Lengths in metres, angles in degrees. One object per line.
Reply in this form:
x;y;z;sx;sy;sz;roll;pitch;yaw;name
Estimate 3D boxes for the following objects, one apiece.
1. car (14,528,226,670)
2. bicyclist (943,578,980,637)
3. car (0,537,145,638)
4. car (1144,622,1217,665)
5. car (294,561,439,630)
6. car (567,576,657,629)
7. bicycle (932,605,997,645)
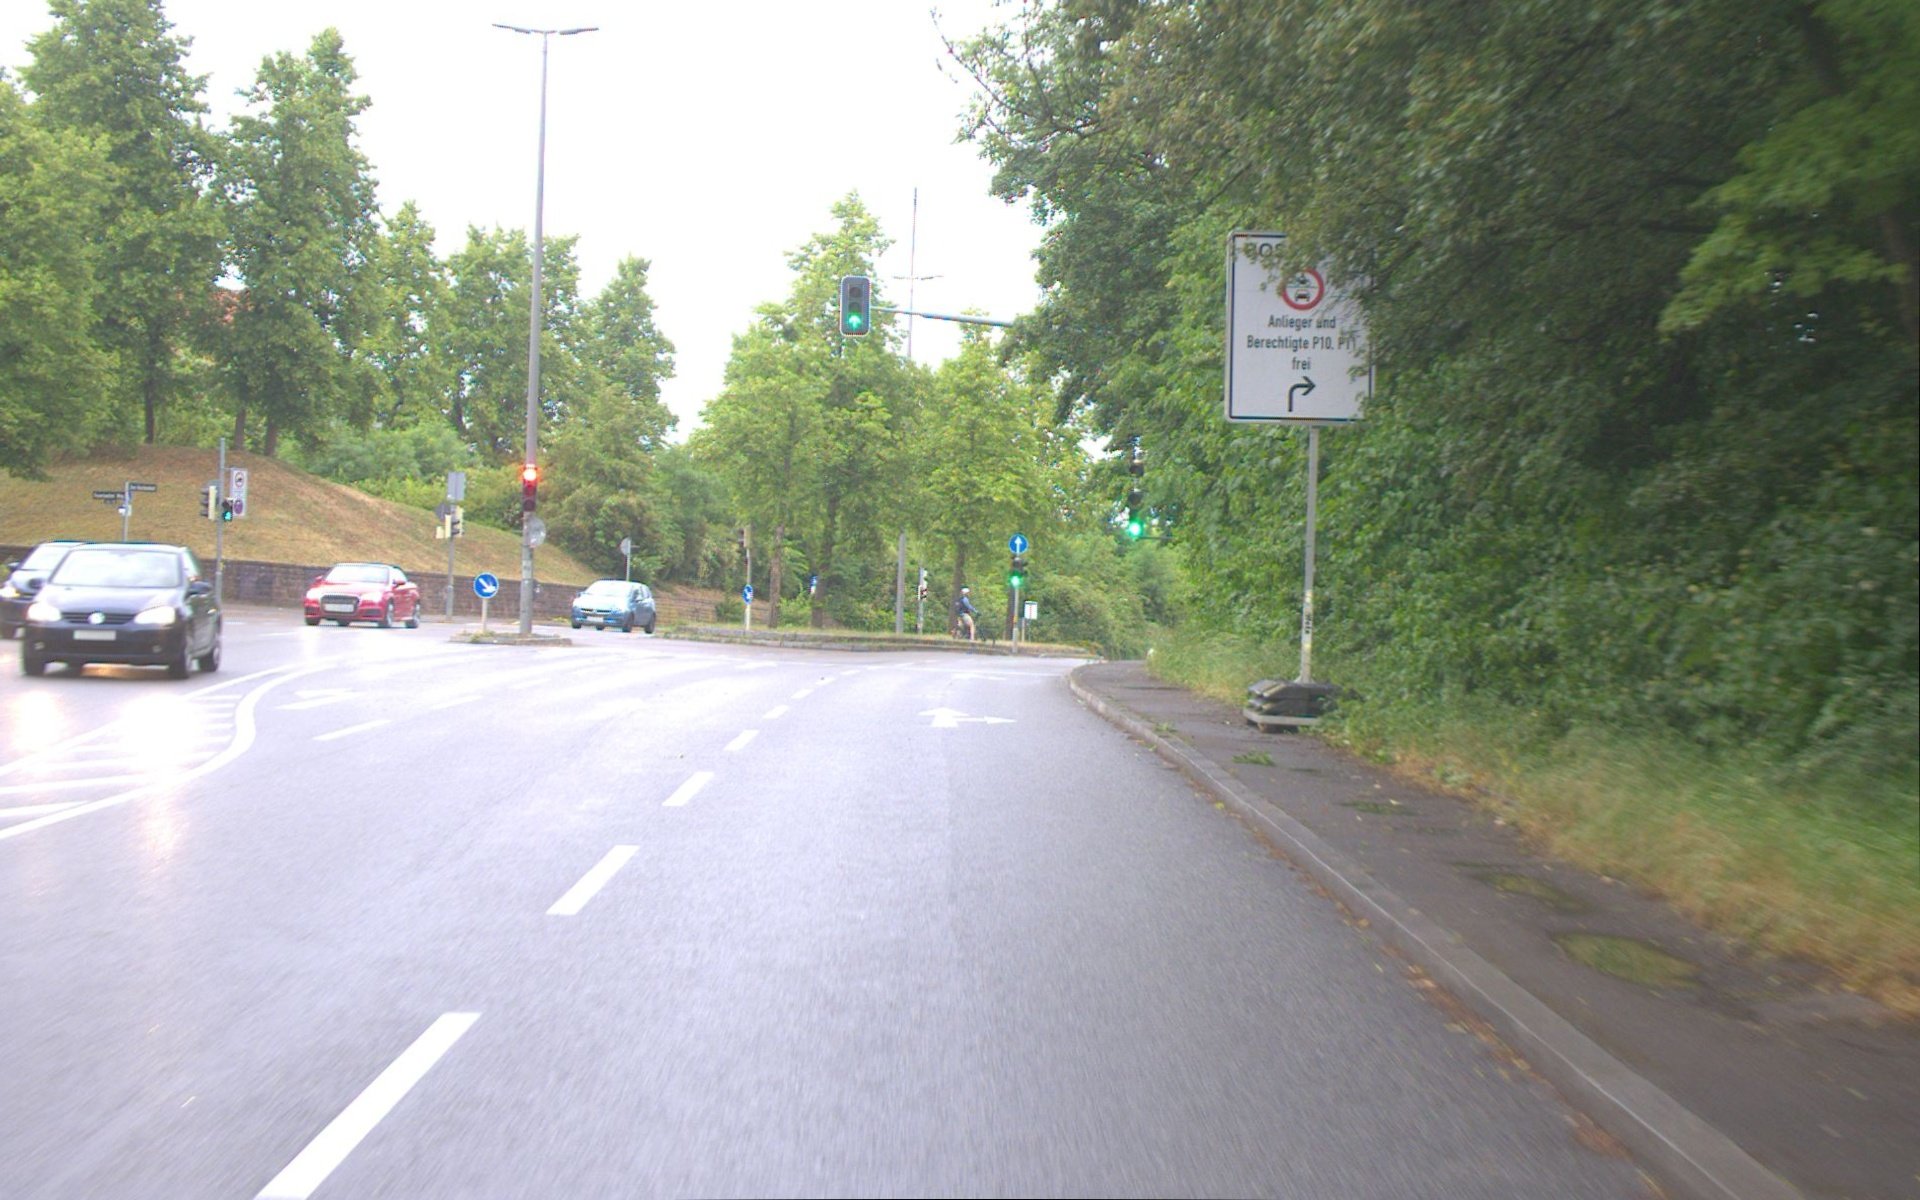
-9.223;-0.047;38.035;1.700;1.422;4.079;2;1;-6;car
0.053;0.233;106.244;0.799;1.746;0.725;5;-5;-42;bicyclist
-13.113;-0.210;50.509;1.631;1.389;4.001;1;1;-5;car
9.840;1.944;152.894;1.947;1.630;5.000;3;-2;19;car
-12.693;-0.124;73.764;1.876;1.369;4.383;2;1;7;car
-9.990;0.071;98.844;1.994;1.485;3.936;0;0;3;car
0.133;0.776;106.250;2.134;1.139;0.554;4;-1;-42;bicycle
